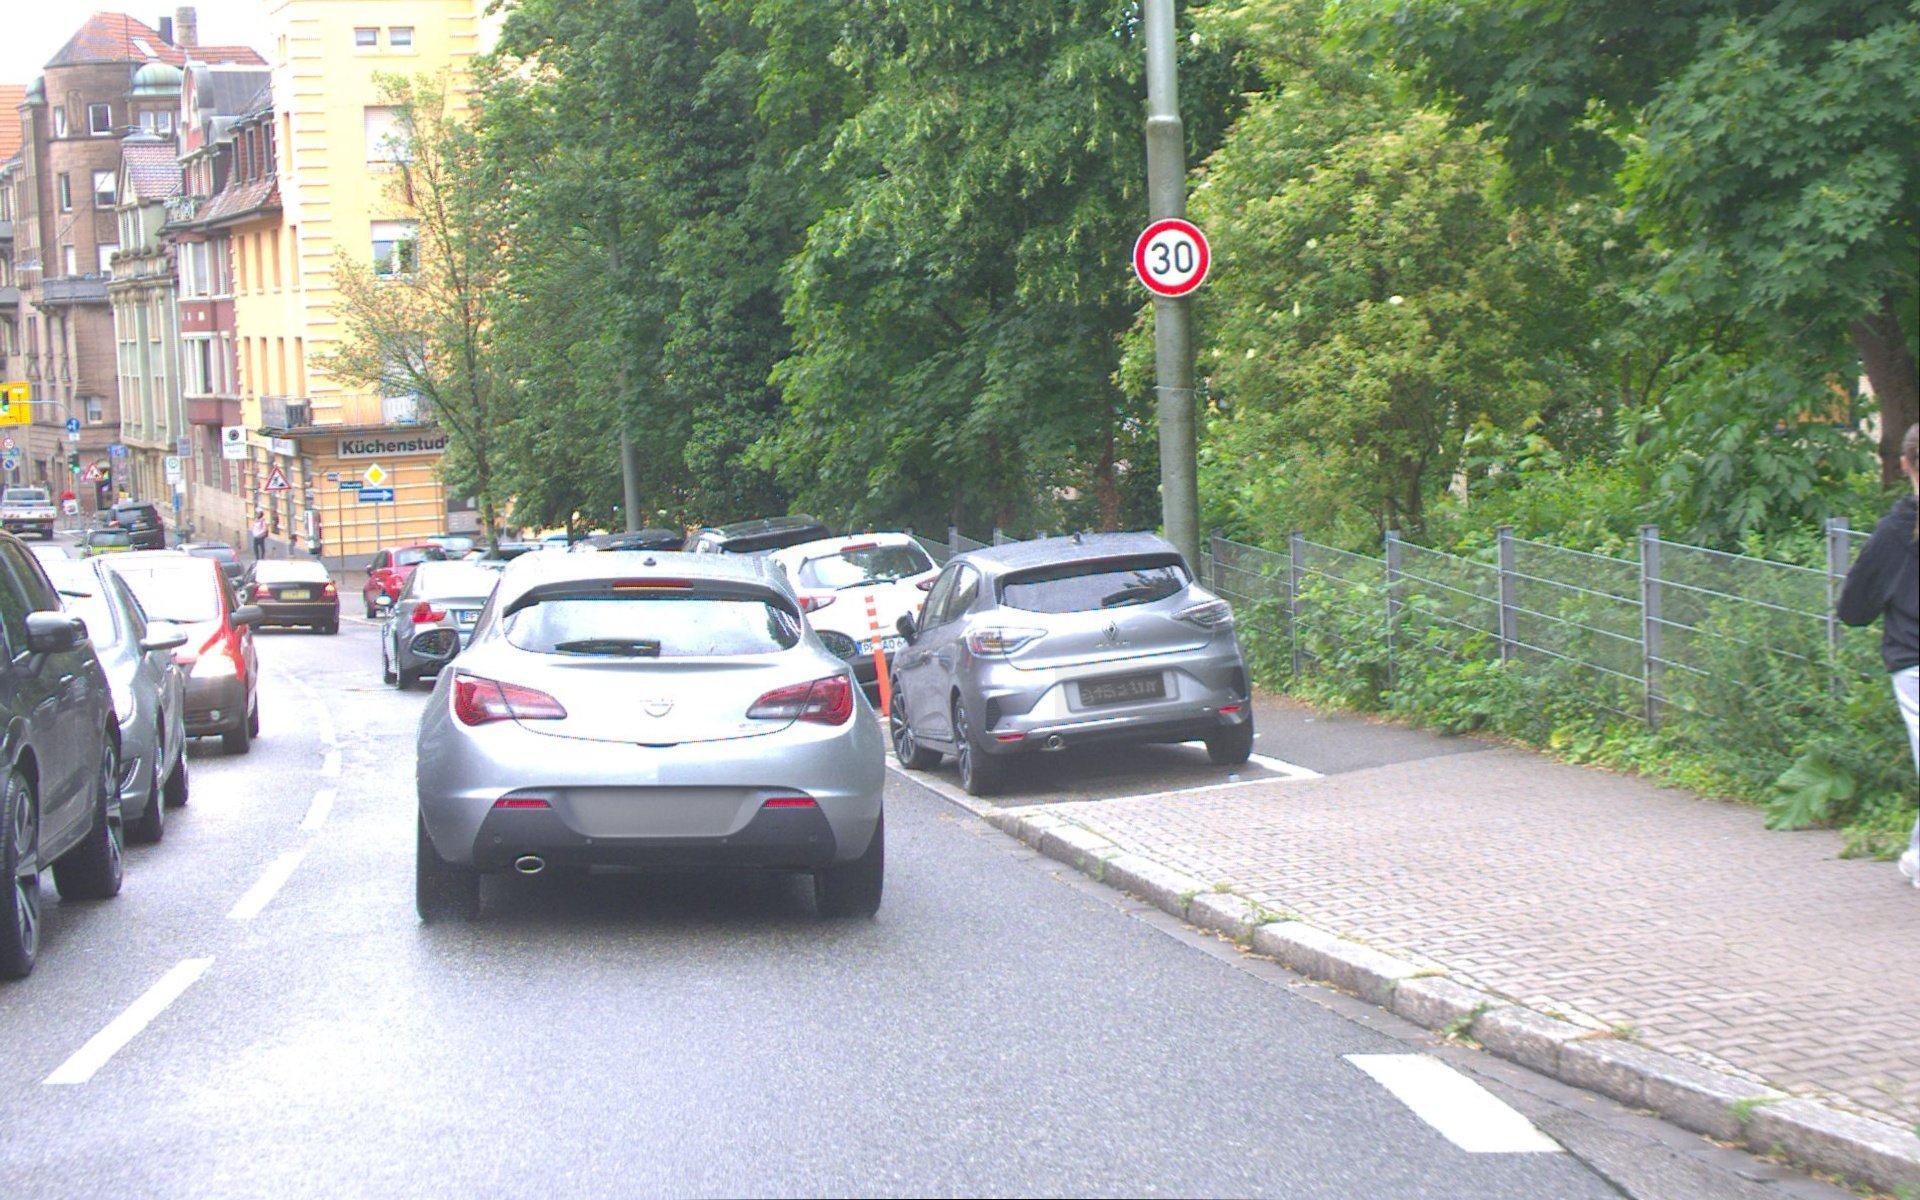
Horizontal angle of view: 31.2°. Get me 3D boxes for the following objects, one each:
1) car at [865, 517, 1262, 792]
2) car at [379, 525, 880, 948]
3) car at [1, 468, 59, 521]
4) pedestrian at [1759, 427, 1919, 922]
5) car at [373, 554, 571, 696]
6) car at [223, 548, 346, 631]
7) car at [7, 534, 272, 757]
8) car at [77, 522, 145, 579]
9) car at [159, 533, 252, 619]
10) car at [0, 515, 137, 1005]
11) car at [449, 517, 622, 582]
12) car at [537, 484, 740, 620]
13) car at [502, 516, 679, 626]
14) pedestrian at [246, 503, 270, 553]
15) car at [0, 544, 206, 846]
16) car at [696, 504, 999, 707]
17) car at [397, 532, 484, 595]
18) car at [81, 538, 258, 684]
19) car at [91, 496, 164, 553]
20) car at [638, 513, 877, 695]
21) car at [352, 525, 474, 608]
[{"bbox_3d":[0.540,0.276,21.350,1.649,1.399,3.814,-6,2,-9],"label":"car"},{"bbox_3d":[-1.366,0.465,14.813,1.814,1.425,4.001,-2,3,-4],"label":"car"},{"bbox_3d":[-35.665,-4.036,131.791,1.781,1.848,4.001,-2,1,-19],"label":"car"},{"bbox_3d":[3.329,0.212,11.739,0.765,1.600,0.966,-5,2,-7],"label":"pedestrian"},{"bbox_3d":[-5.401,0.241,37.718,1.775,1.425,3.787,-2,1,-13],"label":"car"},{"bbox_3d":[-12.730,-0.216,64.633,1.767,1.410,3.718,-1,2,-19],"label":"car"},{"bbox_3d":[-6.394,0.293,27.136,1.654,1.563,4.001,-2,1,-9],"label":"car"},{"bbox_3d":[-24.667,-1.446,99.781,1.639,1.531,3.718,-3,2,-17],"label":"car"},{"bbox_3d":[-17.735,-0.588,80.760,1.640,1.683,3.719,-3,6,-19],"label":"car"},{"bbox_3d":[-4.350,0.503,13.113,1.874,1.569,4.587,-2,1,-8],"label":"car"},{"bbox_3d":[-10.086,-1.193,81.630,3.772,1.425,1.782,1,-1,-19],"label":"car"},{"bbox_3d":[-4.457,-0.631,47.012,1.975,1.603,4.486,-5,1,-14],"label":"car"},{"bbox_3d":[-5.706,-0.434,52.666,1.975,1.447,4.115,-5,1,-15],"label":"car"},{"bbox_3d":[-21.244,-2.180,104.020,0.613,1.491,0.553,-3,4,-16],"label":"pedestrian"},{"bbox_3d":[-5.239,0.443,19.161,1.773,1.492,4.264,-1,1,-9],"label":"car"},{"bbox_3d":[-1.098,0.042,31.290,1.815,1.489,4.001,-8,2,-13],"label":"car"},{"bbox_3d":[-13.314,-0.950,88.307,1.776,1.424,3.786,-1,3,-2],"label":"car"},{"bbox_3d":[-9.672,0.088,42.330,1.845,1.578,4.280,-4,2,-10],"label":"car"},{"bbox_3d":[-28.951,-2.607,119.515,1.993,1.683,4.001,-8,3,-17],"label":"car"},{"bbox_3d":[-2.260,-0.015,37.063,1.821,1.677,4.805,-5,2,-11],"label":"car"},{"bbox_3d":[-11.371,-0.679,71.265,1.815,1.462,4.001,-8,2,-17],"label":"car"}]
